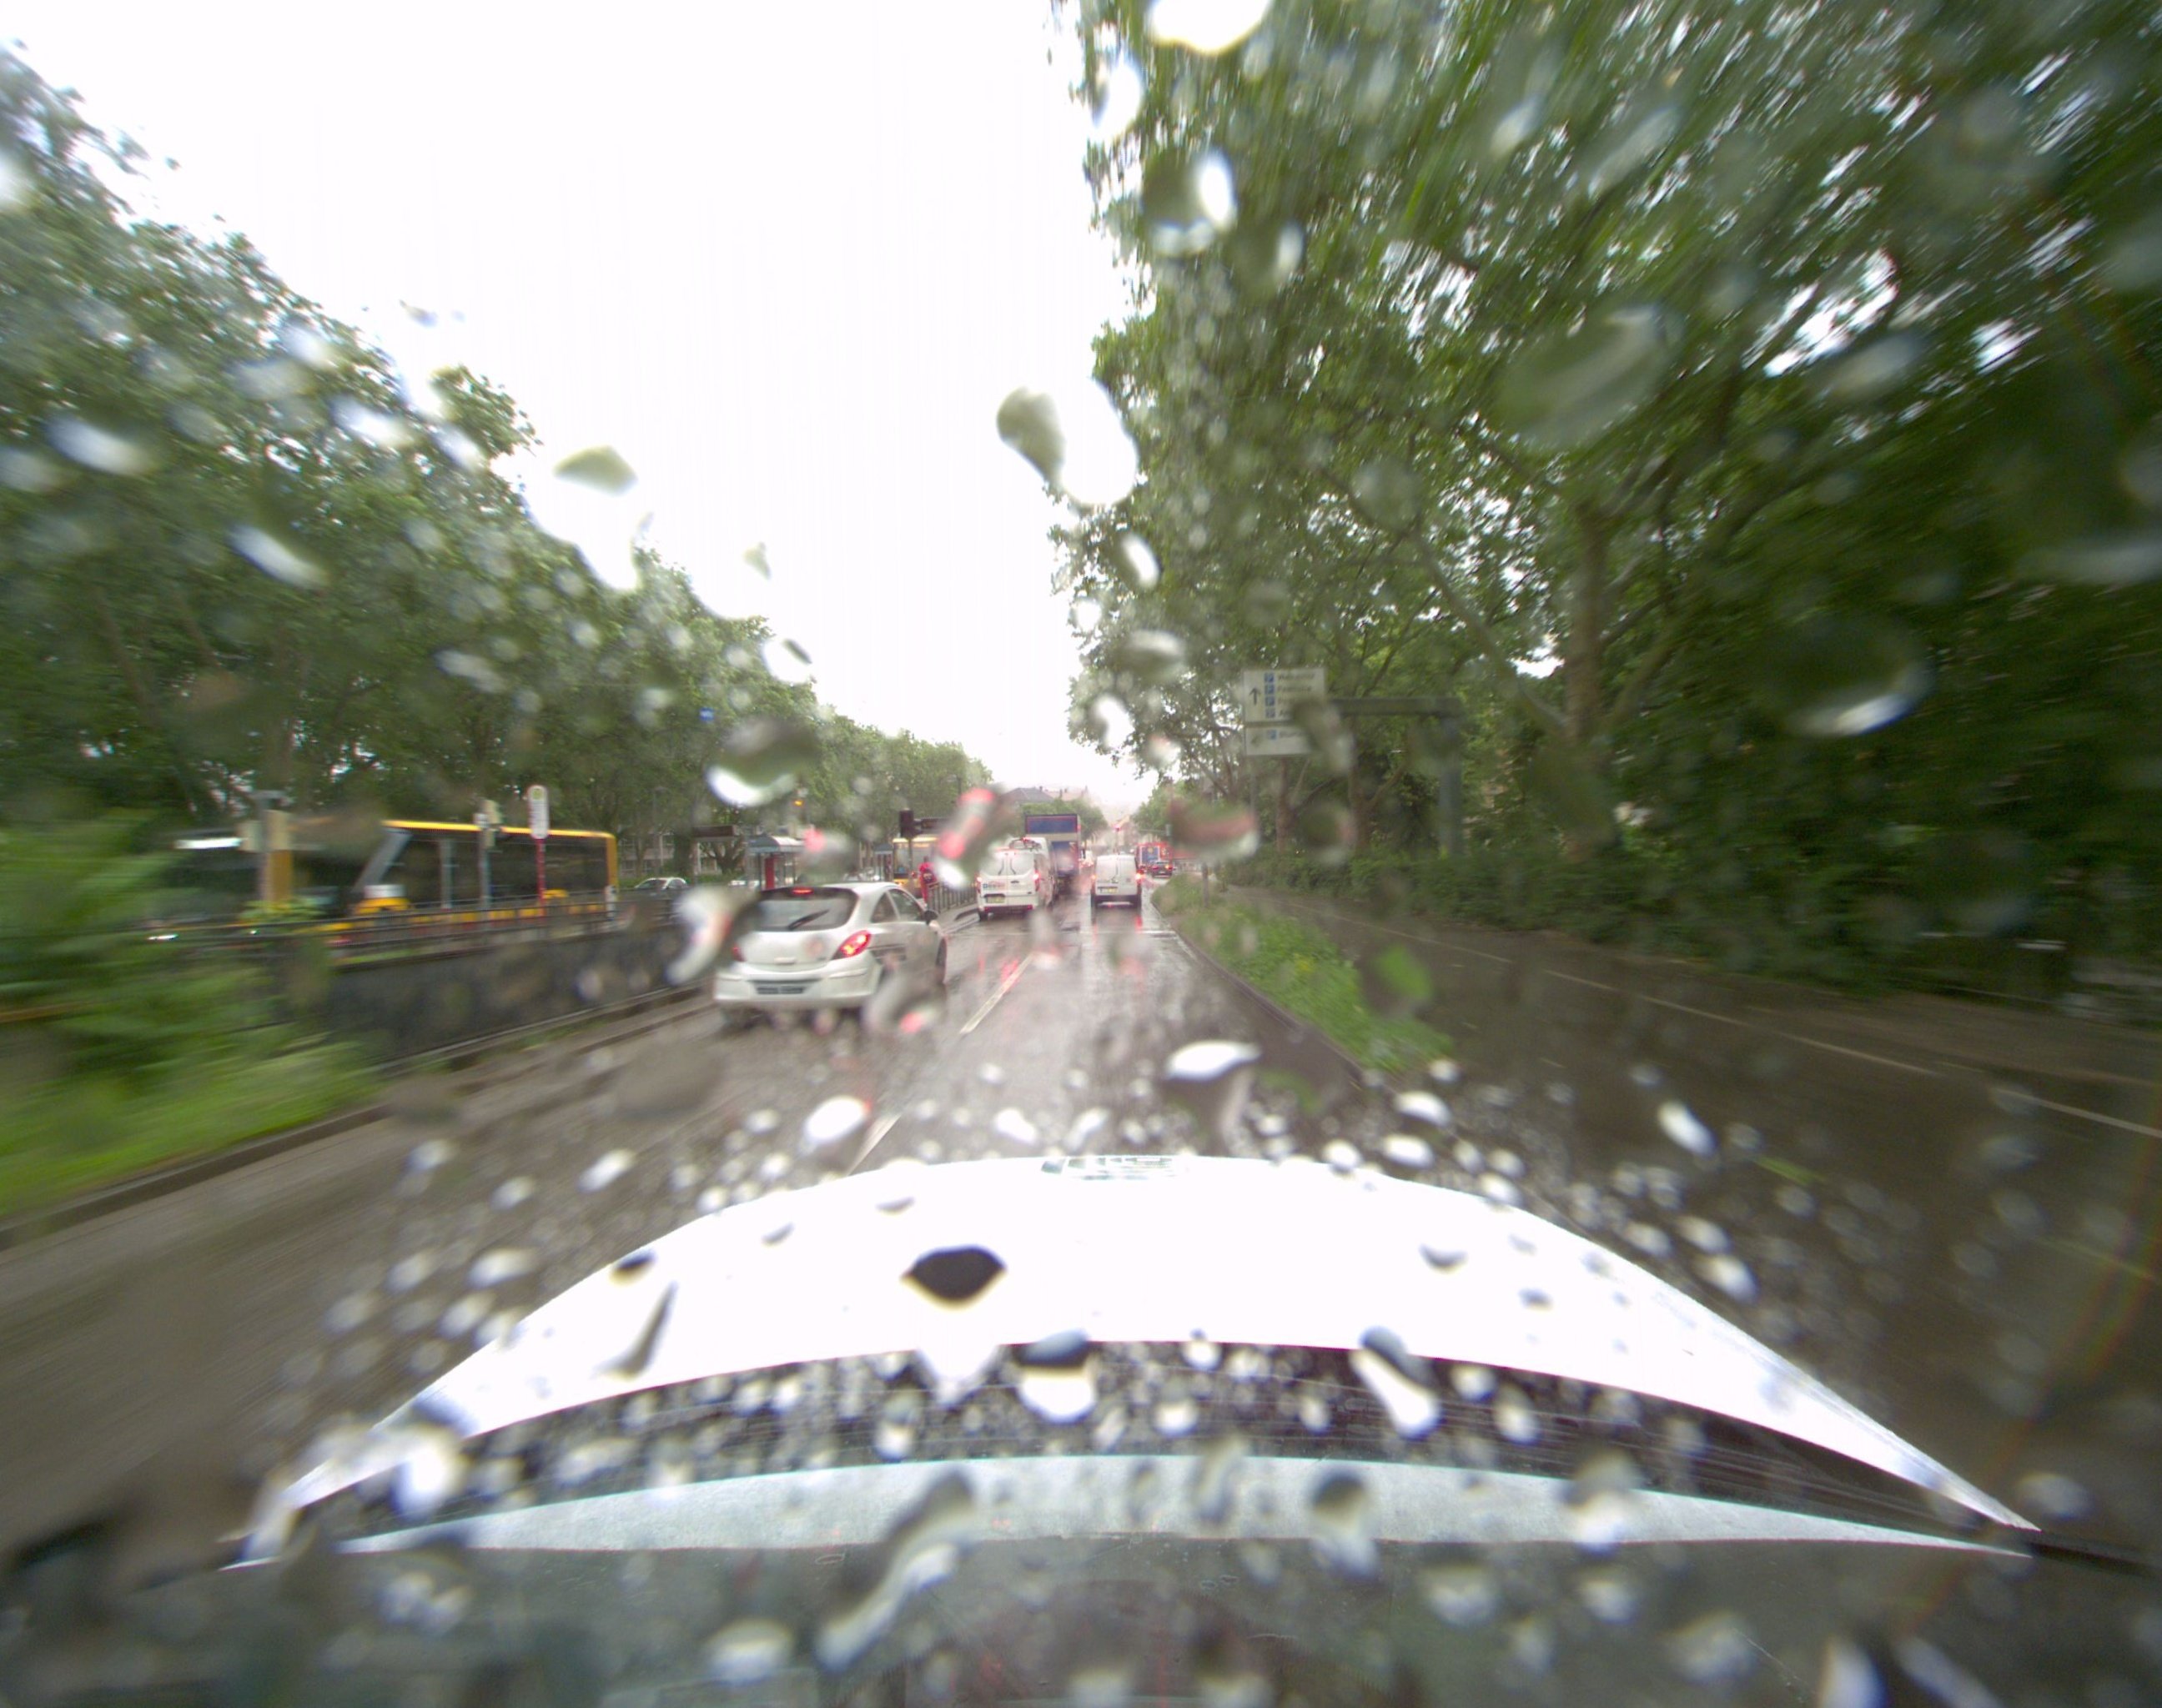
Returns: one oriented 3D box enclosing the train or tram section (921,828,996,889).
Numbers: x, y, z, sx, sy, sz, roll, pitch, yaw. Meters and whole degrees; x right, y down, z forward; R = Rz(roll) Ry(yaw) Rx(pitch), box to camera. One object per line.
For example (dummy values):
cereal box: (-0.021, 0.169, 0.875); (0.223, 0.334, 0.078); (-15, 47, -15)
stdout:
train or tram section: (-7.358, 0.234, 50.329); (2.968, 3.285, 8.434); (-3, 0, 1)

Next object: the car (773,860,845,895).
car: (-16.980, 1.426, 51.254); (2.175, 2.014, 6.118); (-2, -1, 2)

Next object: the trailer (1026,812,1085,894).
trailer: (-1.210, -0.035, 43.099); (2.581, 3.900, 7.638); (-1, 0, 1)

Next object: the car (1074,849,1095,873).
car: (0.396, 0.751, 85.749); (1.986, 2.442, 4.614); (-1, -1, 2)

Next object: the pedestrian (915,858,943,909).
pedestrian: (-5.127, 0.997, 27.552); (0.787, 1.715, 0.771); (0, -2, 1)

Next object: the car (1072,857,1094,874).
car: (0.235, 1.148, 80.224); (1.986, 1.578, 4.294); (-1, -1, 2)

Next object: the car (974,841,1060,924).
car: (-1.850, 0.849, 25.386); (1.985, 2.262, 5.291); (-2, -1, 3)

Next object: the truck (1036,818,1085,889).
truck: (-1.123, -0.026, 47.191); (2.571, 3.904, 4.001); (-1, 0, 1)

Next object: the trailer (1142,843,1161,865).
trailer: (8.263, 0.034, 94.657); (1.983, 2.317, 4.677); (-2, -1, 7)

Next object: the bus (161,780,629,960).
bus: (-18.234, 0.415, 23.738); (3.018, 3.839, 12.248); (-1, -1, 1)

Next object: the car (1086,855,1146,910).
car: (1.237, 0.974, 28.826); (1.951, 1.777, 3.571); (-2, -1, 2)

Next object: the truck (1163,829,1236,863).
truck: (19.538, -1.337, 134.796); (11.272, 4.899, 3.304); (-3, 0, 18)

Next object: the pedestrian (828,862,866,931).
pedestrian: (-6.101, 1.092, 21.267); (0.675, 1.738, 0.808); (-2, -1, 2)

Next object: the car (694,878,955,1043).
car: (-2.728, 1.070, 9.615); (1.719, 1.479, 3.807); (-2, -1, 2)

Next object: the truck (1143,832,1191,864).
truck: (14.378, -1.044, 136.460); (7.100, 4.899, 3.305); (-3, 0, 18)

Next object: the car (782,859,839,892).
car: (-19.830, 1.522, 59.985); (1.984, 2.223, 5.231); (-2, 0, 4)

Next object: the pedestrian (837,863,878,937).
pedestrian: (-5.465, 1.106, 19.957); (0.713, 1.745, 0.751); (-2, -1, 1)

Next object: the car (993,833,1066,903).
car: (-2.008, 0.592, 33.934); (2.320, 2.557, 6.117); (-2, -1, 3)

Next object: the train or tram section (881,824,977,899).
train or tram section: (-7.594, 0.314, 41.926); (2.950, 3.285, 8.363); (-3, 0, 1)

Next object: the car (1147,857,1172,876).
car: (6.763, 1.065, 69.844); (1.983, 1.542, 4.007); (-2, 0, 6)

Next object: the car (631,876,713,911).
car: (-20.757, 1.987, 41.557); (1.926, 1.517, 4.003); (-3, 0, 3)
